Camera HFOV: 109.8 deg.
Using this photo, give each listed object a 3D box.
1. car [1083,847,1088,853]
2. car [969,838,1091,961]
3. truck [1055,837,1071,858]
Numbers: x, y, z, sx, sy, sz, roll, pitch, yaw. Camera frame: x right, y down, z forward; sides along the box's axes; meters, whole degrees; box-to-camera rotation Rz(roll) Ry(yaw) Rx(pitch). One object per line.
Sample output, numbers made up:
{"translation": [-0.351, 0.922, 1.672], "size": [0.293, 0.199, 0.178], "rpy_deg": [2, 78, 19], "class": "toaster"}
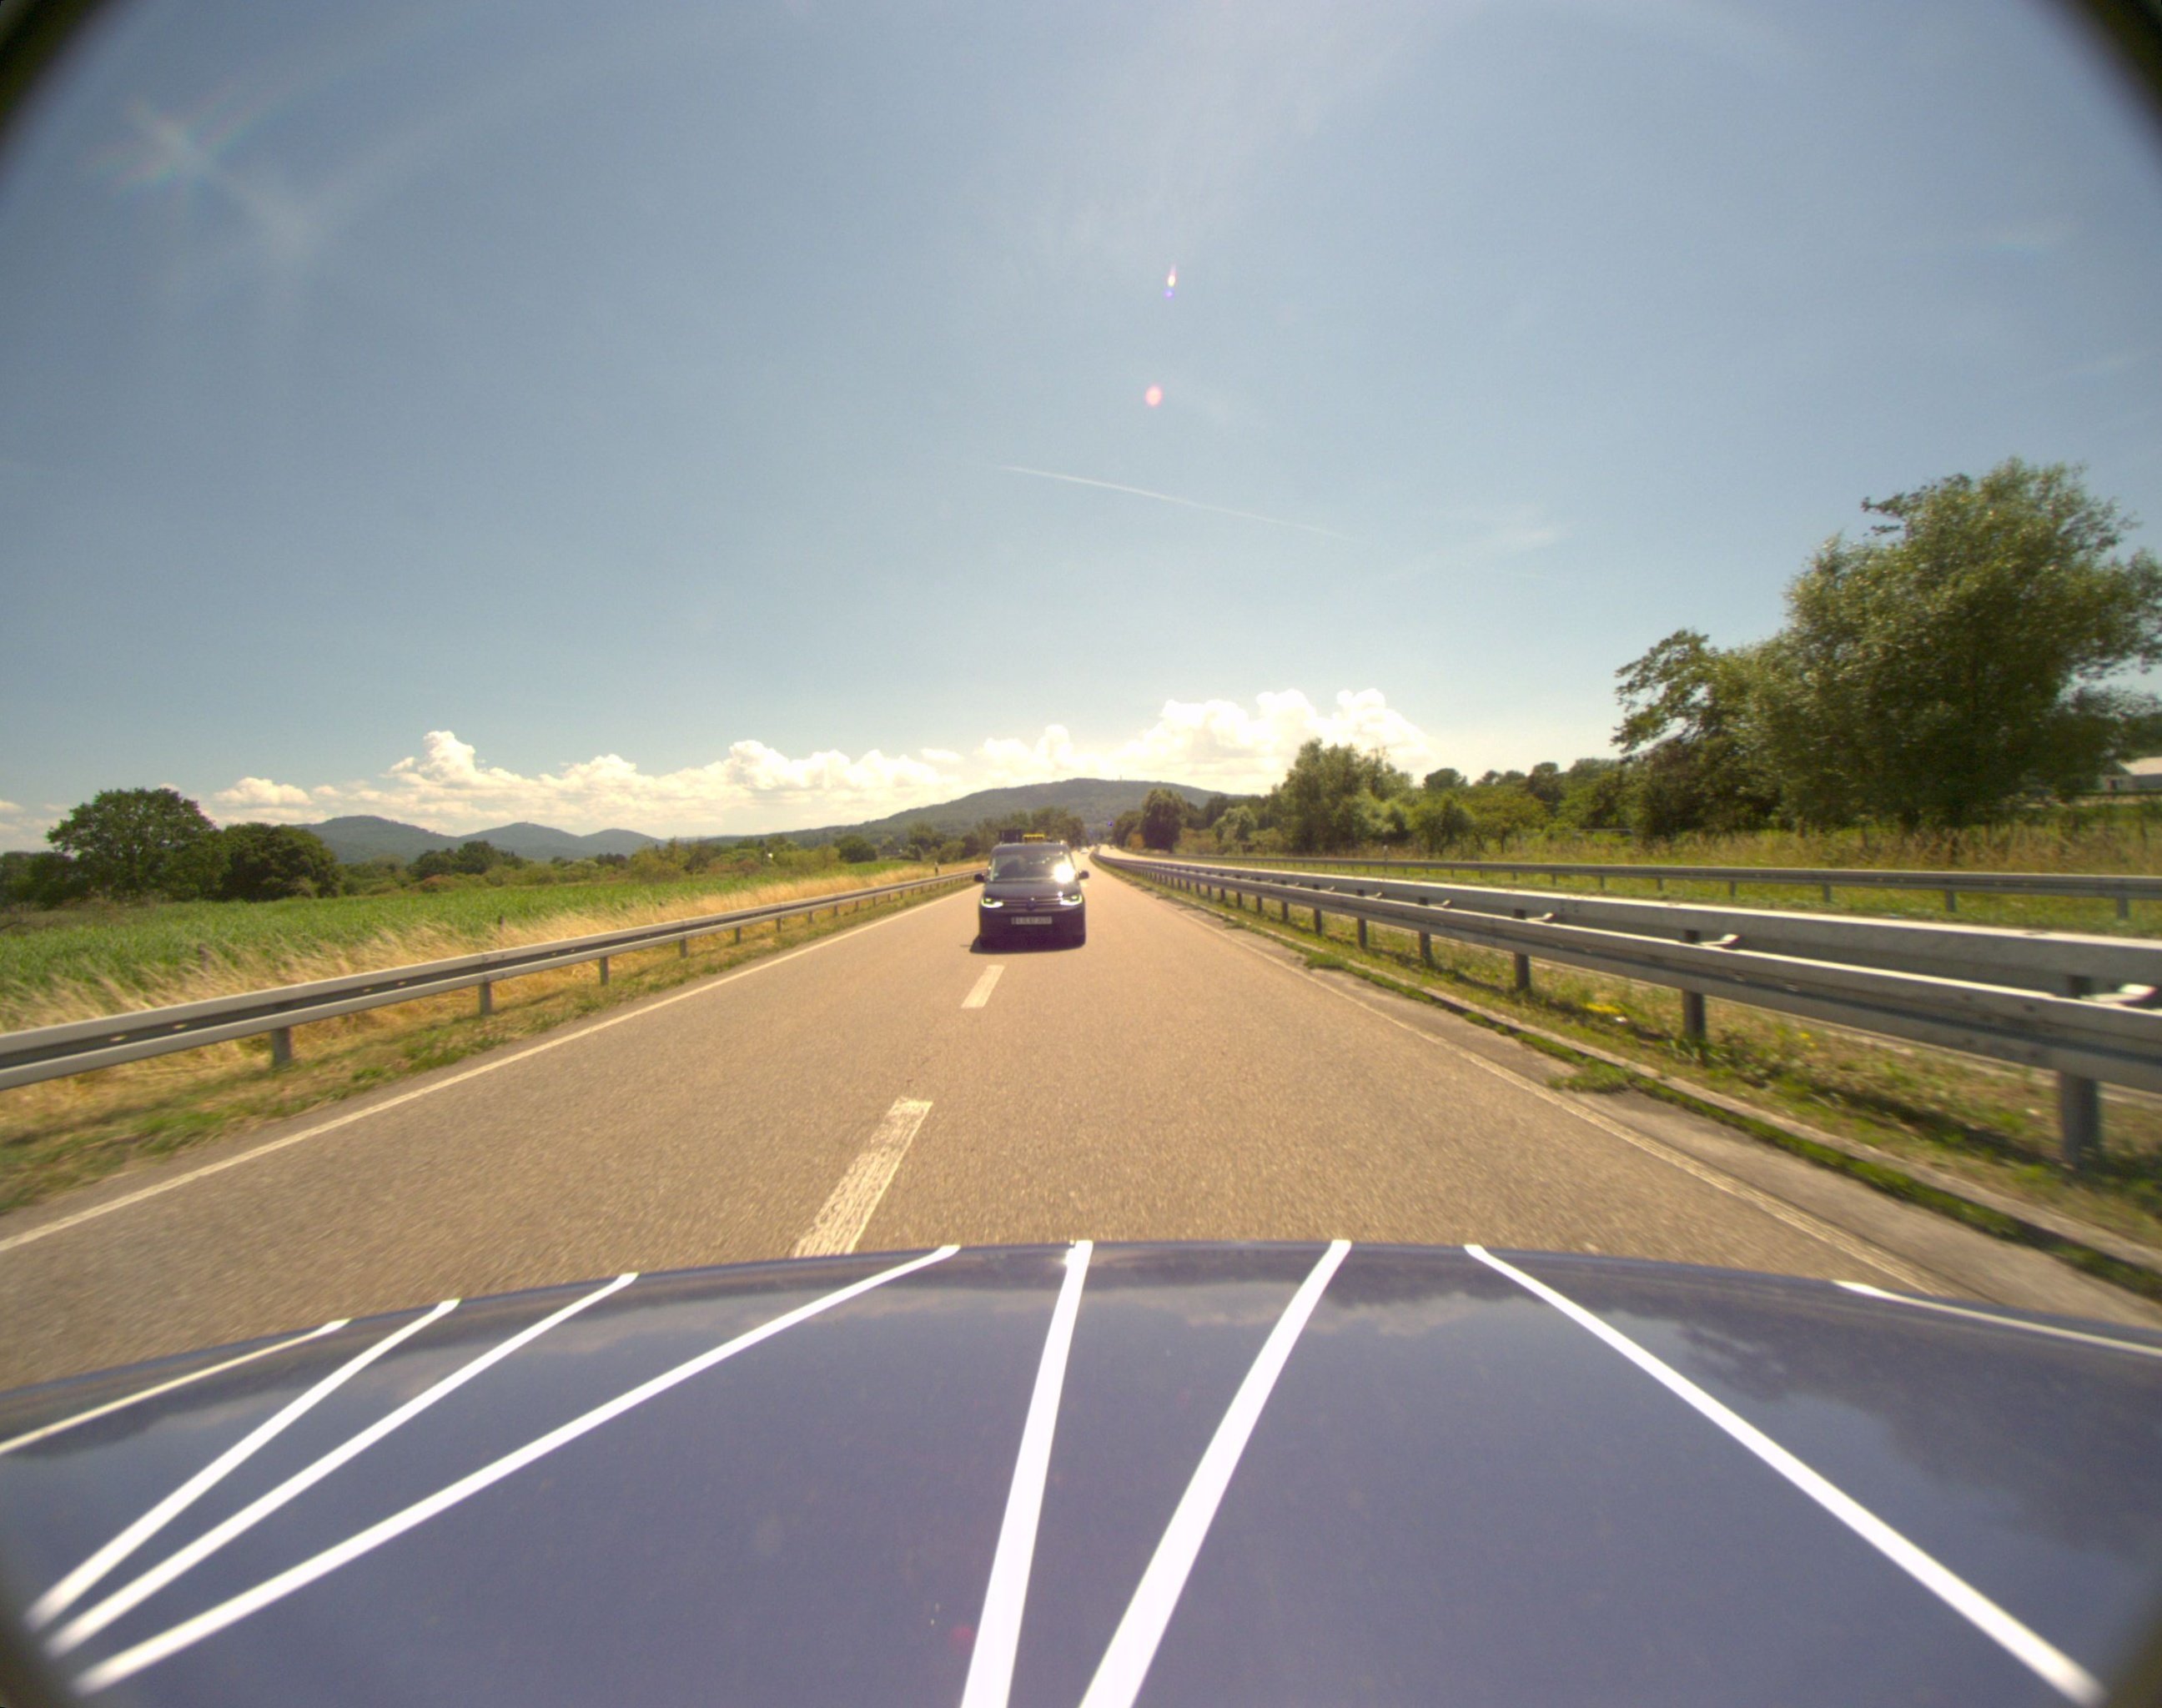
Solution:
{"translation": [1.347, -1.238, 237.793], "size": [1.620, 1.545, 3.485], "rpy_deg": [-3, 1, 0], "class": "car"}
{"translation": [-0.949, 0.727, 14.846], "size": [1.859, 1.876, 5.571], "rpy_deg": [-2, 0, -3], "class": "car"}
{"translation": [-3.688, -1.347, 159.977], "size": [2.827, 4.143, 9.947], "rpy_deg": [-3, 0, 0], "class": "truck"}
